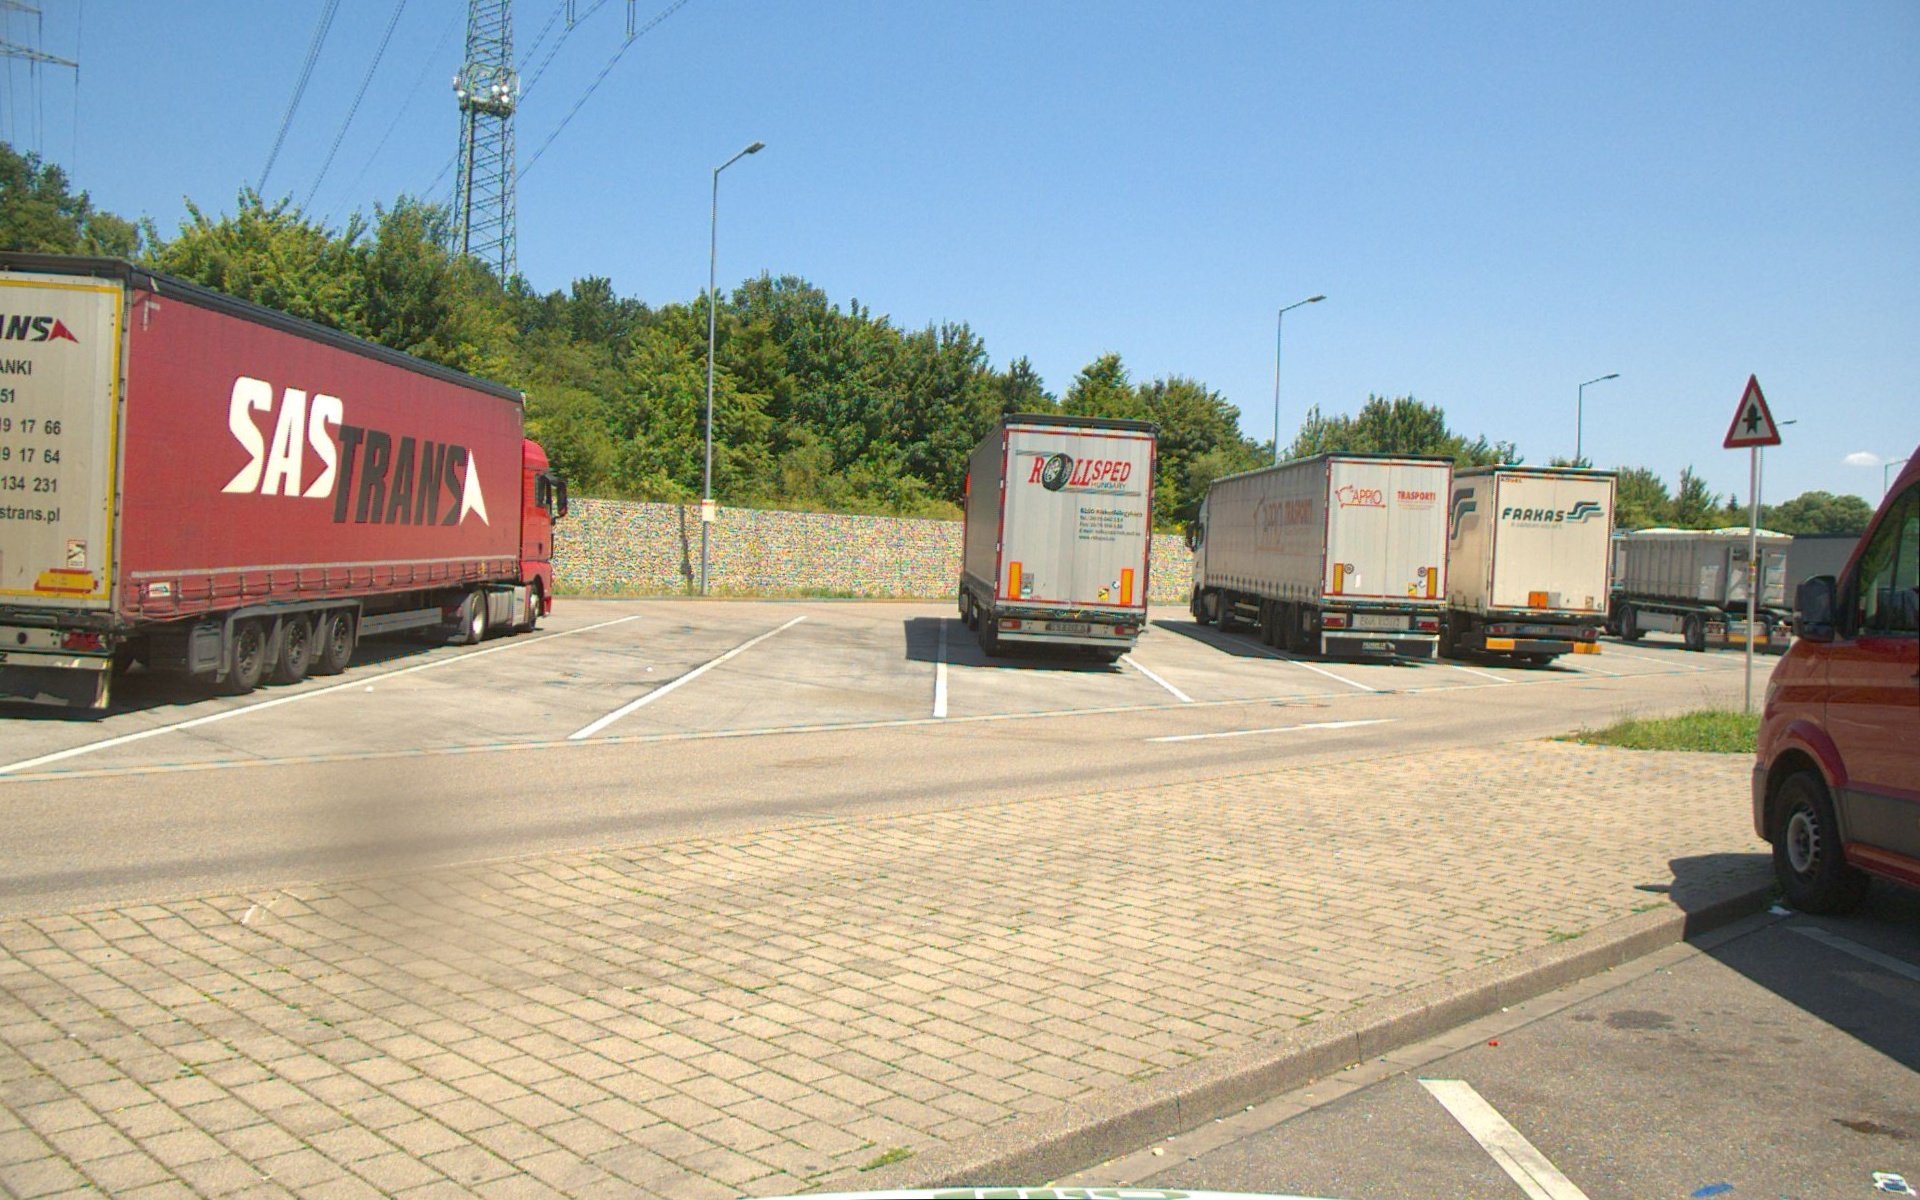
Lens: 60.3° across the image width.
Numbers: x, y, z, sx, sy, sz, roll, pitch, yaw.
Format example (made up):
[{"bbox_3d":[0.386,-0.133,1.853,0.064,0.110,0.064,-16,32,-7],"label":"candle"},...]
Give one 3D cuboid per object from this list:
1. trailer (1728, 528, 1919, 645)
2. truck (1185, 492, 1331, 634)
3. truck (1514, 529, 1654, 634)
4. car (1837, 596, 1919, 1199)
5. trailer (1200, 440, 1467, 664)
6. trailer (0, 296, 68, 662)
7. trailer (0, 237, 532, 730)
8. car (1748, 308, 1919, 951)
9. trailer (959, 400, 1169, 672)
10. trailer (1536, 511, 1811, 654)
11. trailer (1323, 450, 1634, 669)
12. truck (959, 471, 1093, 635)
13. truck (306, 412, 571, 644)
[{"bbox_3d":[34.942,-0.643,65.386,2.780,4.119,13.726,2,2,1],"label":"trailer"},{"bbox_3d":[8.098,-1.037,45.613,2.794,3.544,5.482,2,2,-1],"label":"truck"},{"bbox_3d":[22.010,-0.714,58.687,2.794,3.423,5.484,3,2,0],"label":"truck"},{"bbox_3d":[2.599,0.797,1.131,1.703,1.508,3.813,1,1,-6],"label":"car"},{"bbox_3d":[8.212,-1.137,38.803,2.781,4.204,13.722,2,2,-1],"label":"trailer"},{"bbox_3d":[-12.524,-1.308,15.679,2.673,4.282,10.170,2,2,-1],"label":"trailer"},{"bbox_3d":[-8.678,-1.296,21.162,2.848,4.203,13.723,2,2,-1],"label":"trailer"},{"bbox_3d":[5.011,0.163,5.535,2.023,2.742,6.397,1,1,4],"label":"car"},{"bbox_3d":[1.651,-1.230,33.215,2.848,4.204,13.720,2,2,-1],"label":"trailer"},{"bbox_3d":[21.929,-0.684,52.182,2.780,3.781,13.726,3,2,1],"label":"trailer"},{"bbox_3d":[11.771,-1.017,39.608,2.781,4.204,13.722,2,2,-1],"label":"trailer"},{"bbox_3d":[1.483,-1.142,39.824,2.794,3.544,5.482,2,2,-1],"label":"truck"},{"bbox_3d":[-8.792,-1.205,28.598,2.794,3.487,5.482,2,2,-1],"label":"truck"}]
